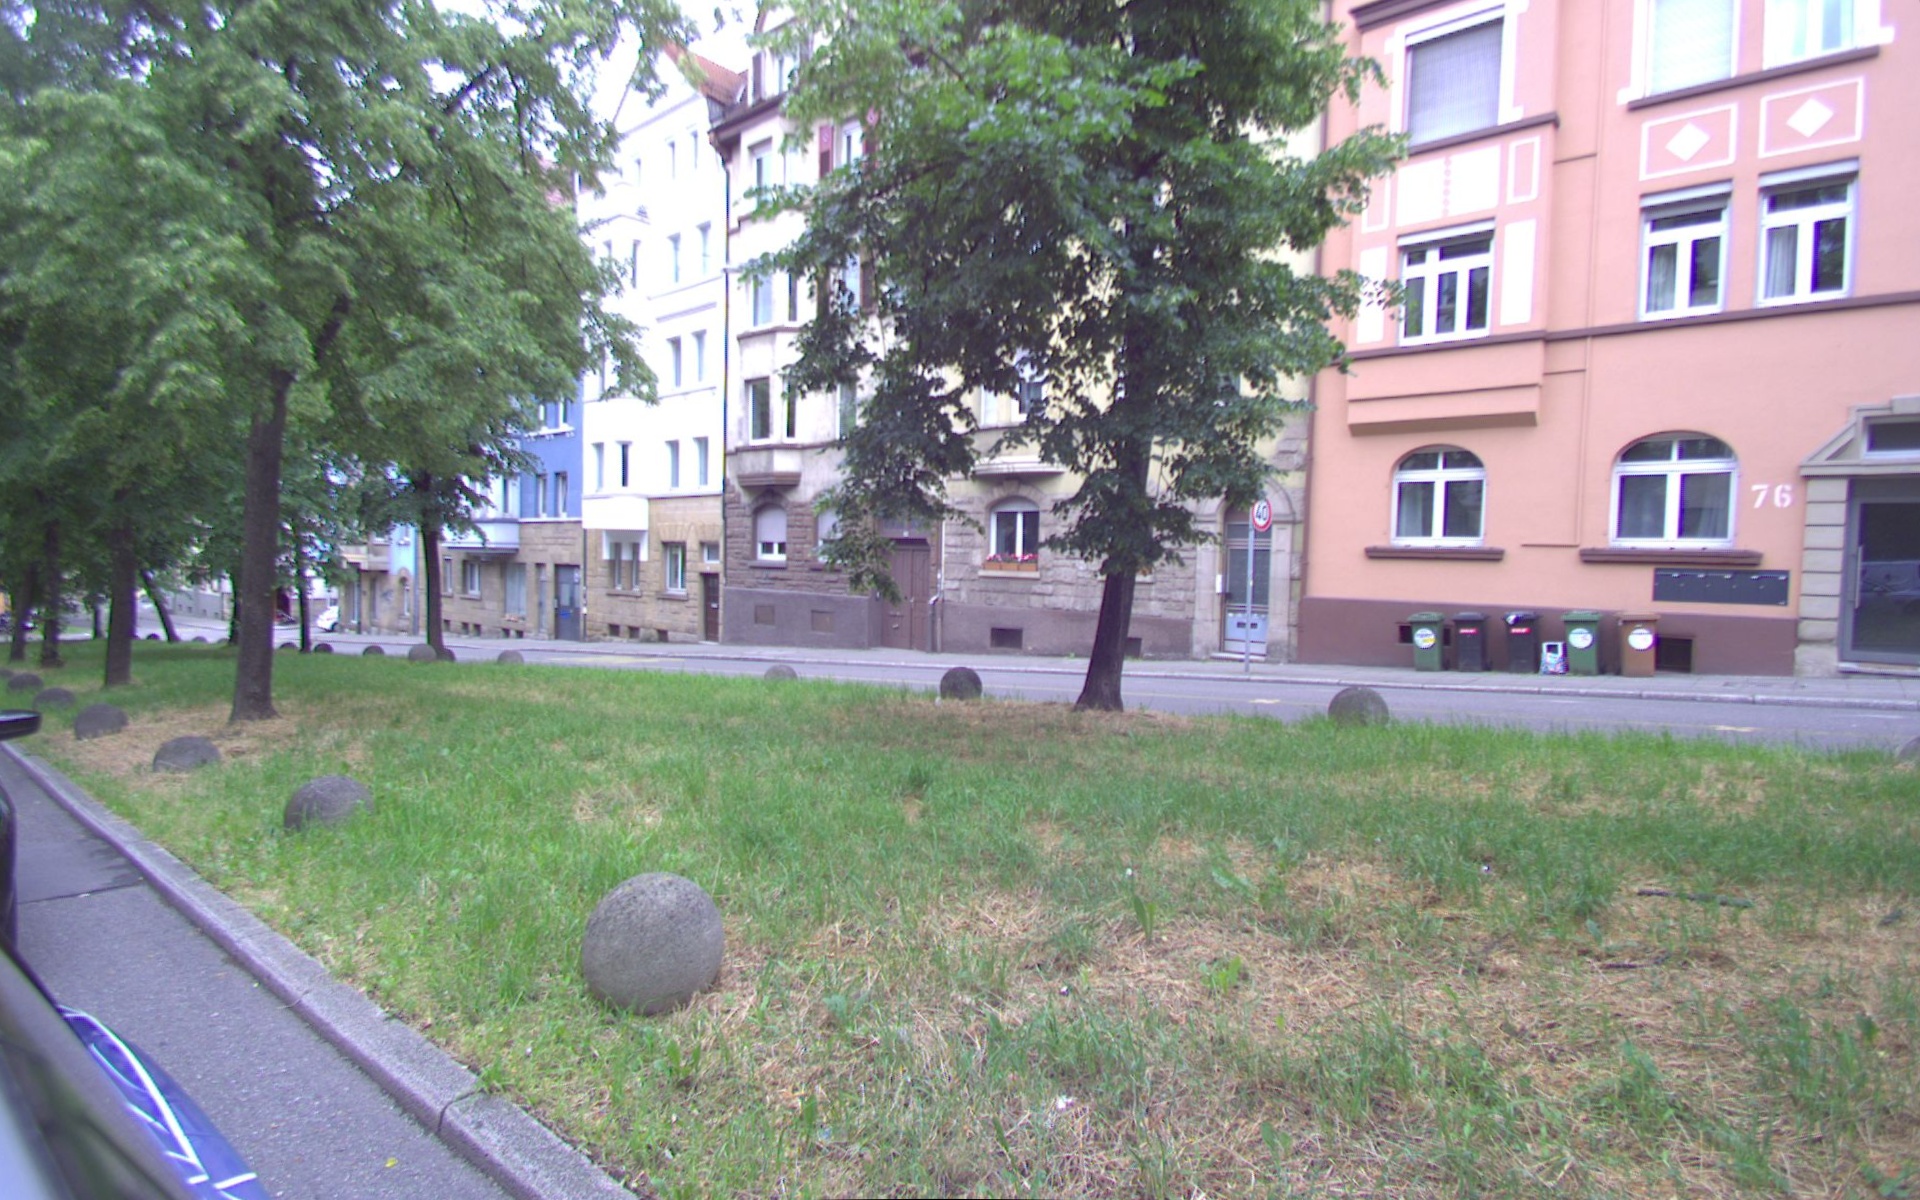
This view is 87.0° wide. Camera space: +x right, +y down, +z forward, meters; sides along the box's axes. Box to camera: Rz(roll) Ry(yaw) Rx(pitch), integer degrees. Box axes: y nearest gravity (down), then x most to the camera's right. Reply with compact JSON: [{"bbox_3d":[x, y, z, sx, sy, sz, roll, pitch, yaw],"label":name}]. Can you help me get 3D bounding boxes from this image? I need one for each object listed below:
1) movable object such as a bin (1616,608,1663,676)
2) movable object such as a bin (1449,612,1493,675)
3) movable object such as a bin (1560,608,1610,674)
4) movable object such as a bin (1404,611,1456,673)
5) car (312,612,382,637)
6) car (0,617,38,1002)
[{"bbox_3d":[9.641,0.578,14.347,0.514,0.928,0.750,-1,0,36],"label":"movable object such as a bin"},{"bbox_3d":[7.996,0.668,15.818,0.531,0.953,0.575,-1,0,35],"label":"movable object such as a bin"},{"bbox_3d":[9.130,0.585,14.779,0.558,0.928,0.648,-1,0,36],"label":"movable object such as a bin"},{"bbox_3d":[7.522,0.655,16.191,0.617,0.955,0.610,-1,0,40],"label":"movable object such as a bin"},{"bbox_3d":[-35.384,1.381,58.480,3.244,1.341,1.674,-1,0,-40],"label":"car"},{"bbox_3d":[-5.388,0.804,4.446,3.295,1.476,1.590,-1,-2,41],"label":"car"}]
